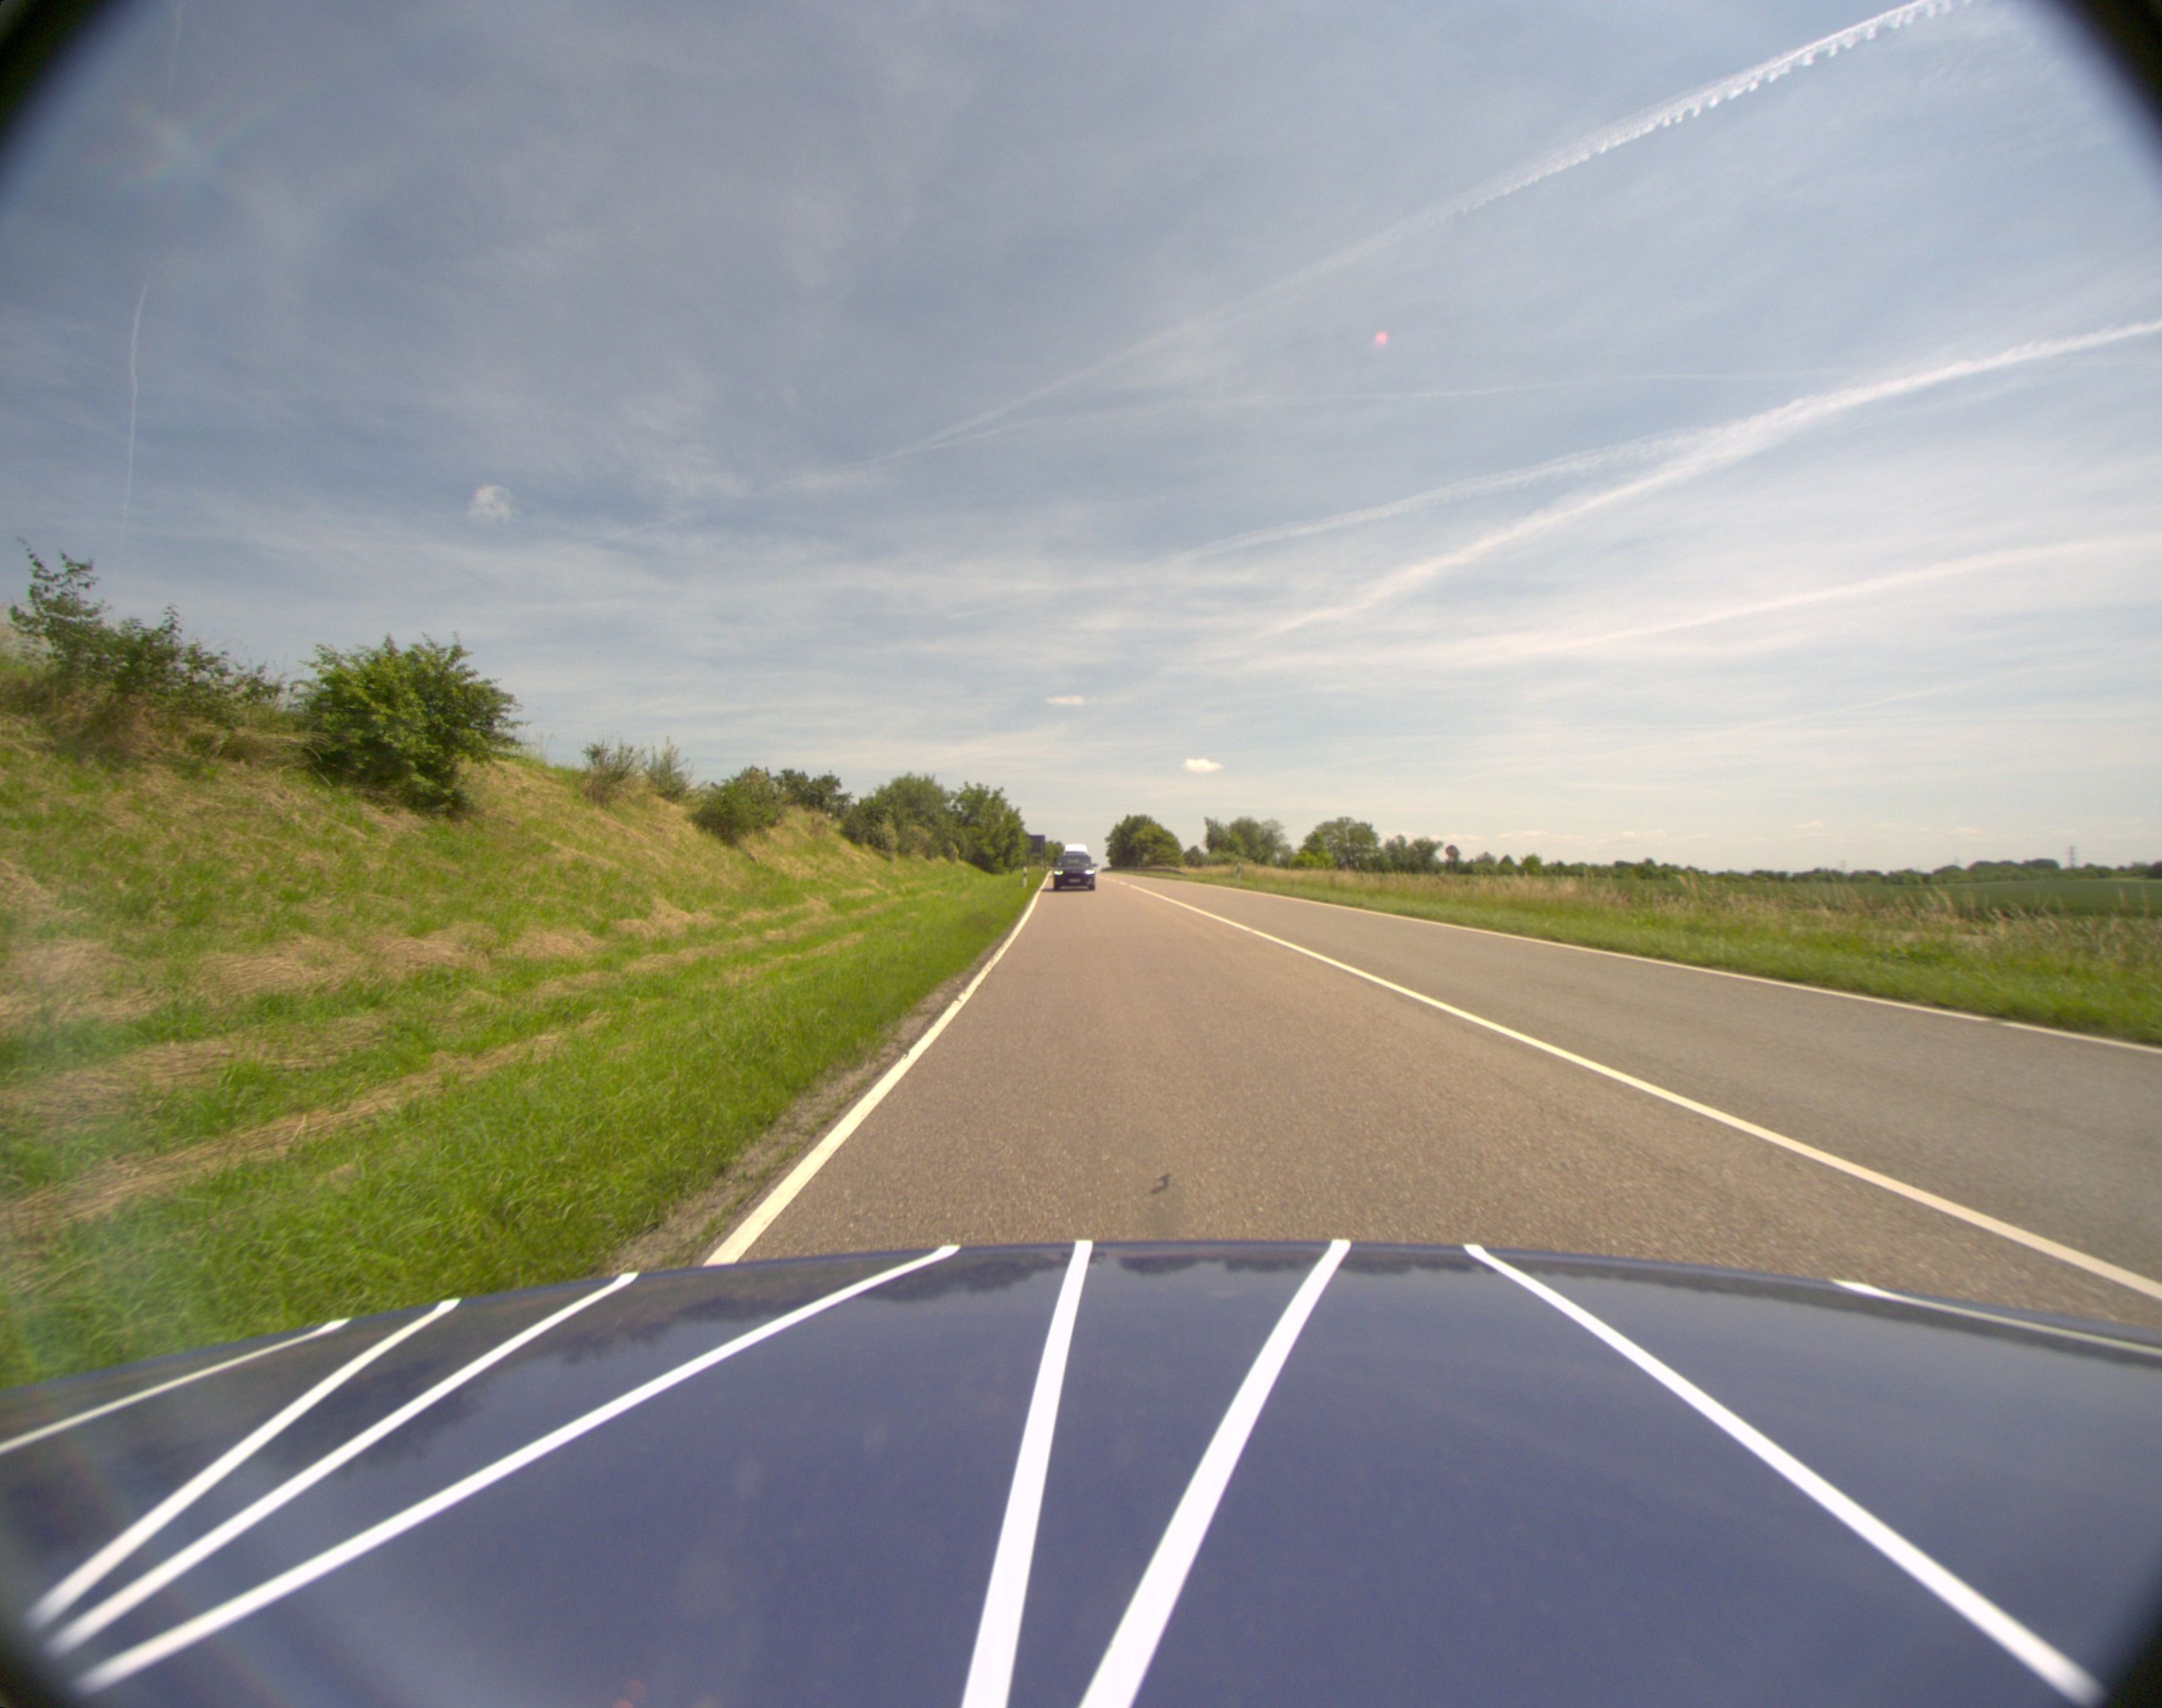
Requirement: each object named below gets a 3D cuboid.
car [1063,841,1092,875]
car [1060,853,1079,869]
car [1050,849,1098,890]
[{"bbox_3d":[-0.283,0.300,62.963,2.226,2.617,5.752,0,0,0],"label":"car"},{"bbox_3d":[-1.250,0.756,84.589,2.039,1.641,4.743,1,1,0],"label":"car"},{"bbox_3d":[-0.278,0.669,35.579,2.039,1.691,5.513,-2,0,1],"label":"car"}]
